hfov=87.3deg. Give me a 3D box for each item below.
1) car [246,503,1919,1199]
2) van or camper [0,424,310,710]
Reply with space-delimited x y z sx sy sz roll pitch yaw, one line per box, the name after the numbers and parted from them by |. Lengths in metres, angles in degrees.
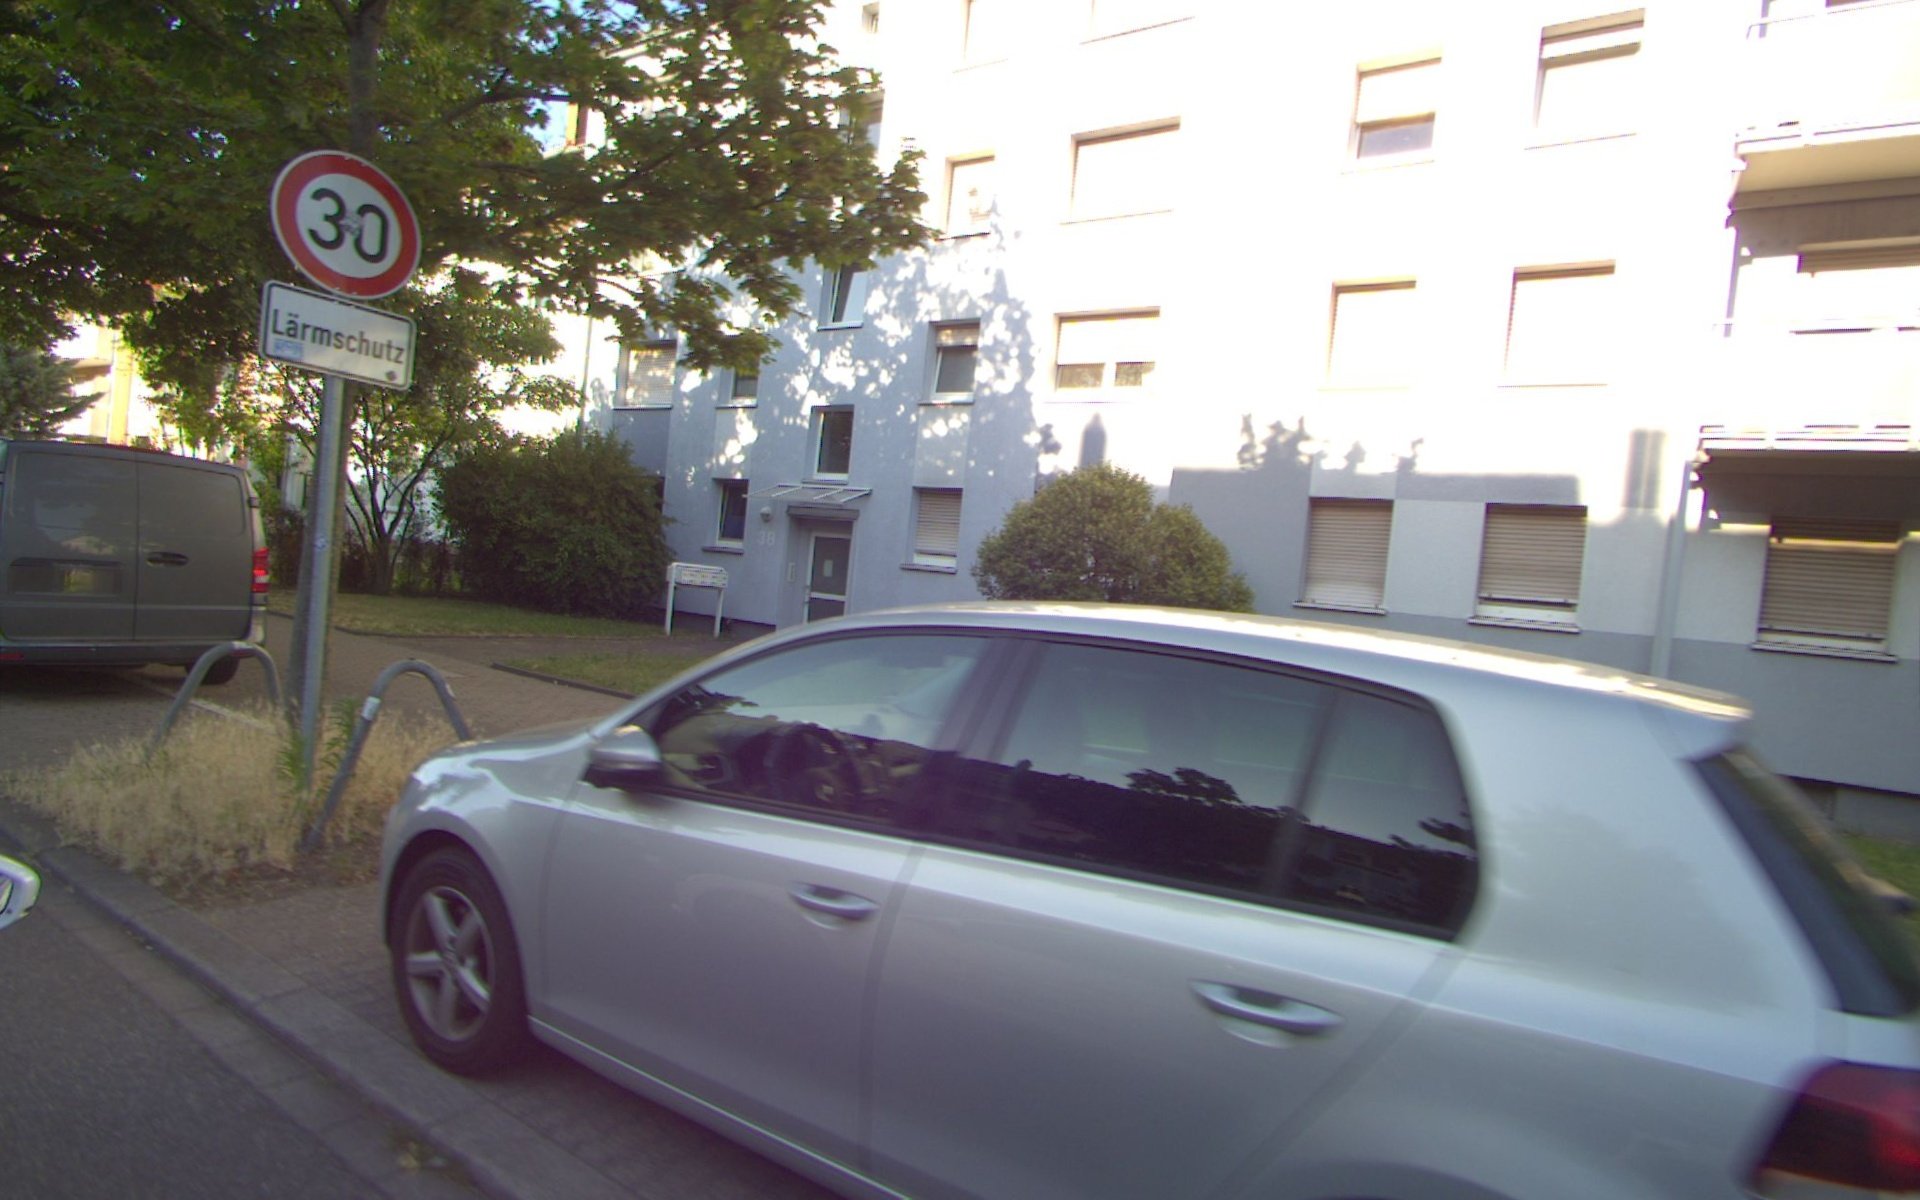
-0.024 0.674 2.872 4.233 1.463 1.734 7 2 32 | car
-7.954 -0.459 8.636 5.173 1.866 1.994 8 2 33 | van or camper
